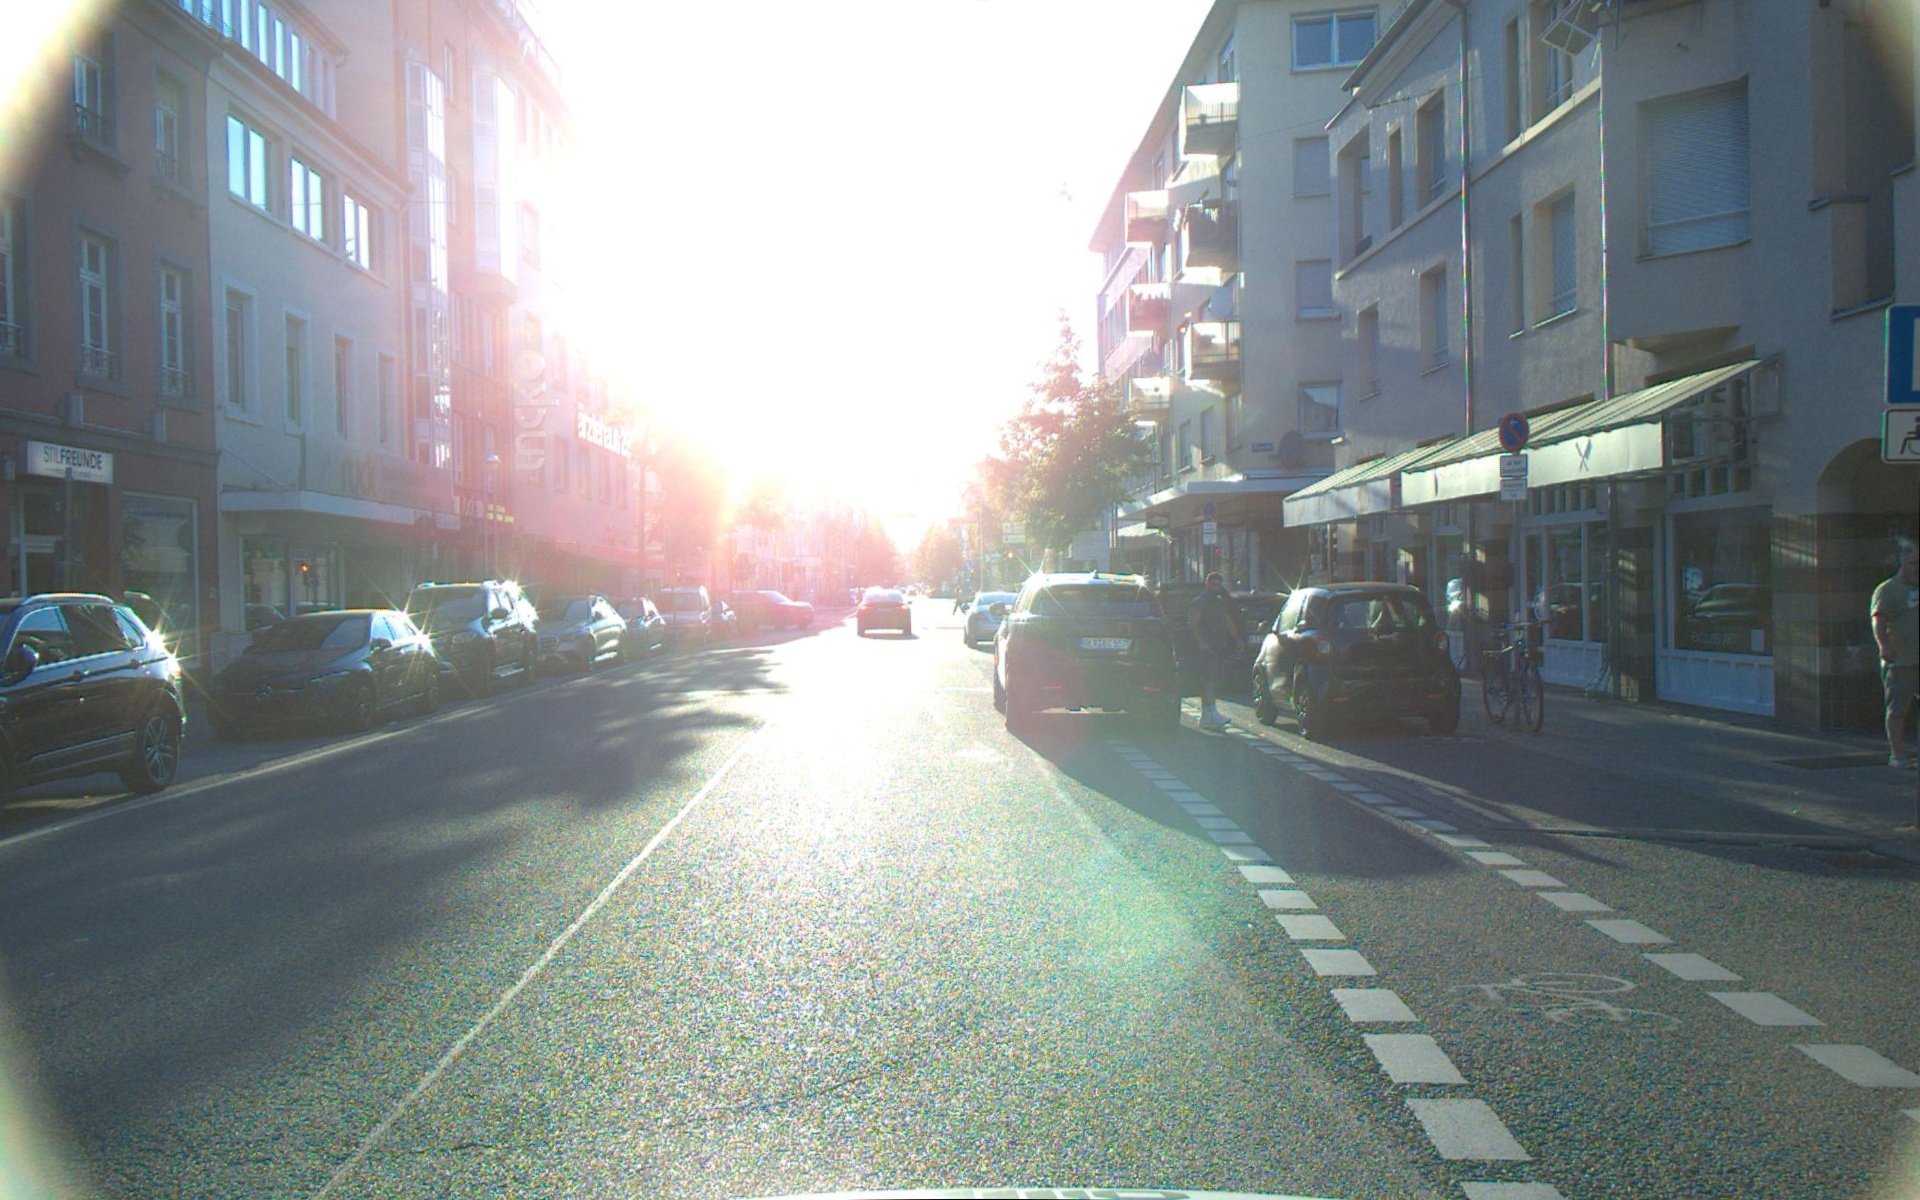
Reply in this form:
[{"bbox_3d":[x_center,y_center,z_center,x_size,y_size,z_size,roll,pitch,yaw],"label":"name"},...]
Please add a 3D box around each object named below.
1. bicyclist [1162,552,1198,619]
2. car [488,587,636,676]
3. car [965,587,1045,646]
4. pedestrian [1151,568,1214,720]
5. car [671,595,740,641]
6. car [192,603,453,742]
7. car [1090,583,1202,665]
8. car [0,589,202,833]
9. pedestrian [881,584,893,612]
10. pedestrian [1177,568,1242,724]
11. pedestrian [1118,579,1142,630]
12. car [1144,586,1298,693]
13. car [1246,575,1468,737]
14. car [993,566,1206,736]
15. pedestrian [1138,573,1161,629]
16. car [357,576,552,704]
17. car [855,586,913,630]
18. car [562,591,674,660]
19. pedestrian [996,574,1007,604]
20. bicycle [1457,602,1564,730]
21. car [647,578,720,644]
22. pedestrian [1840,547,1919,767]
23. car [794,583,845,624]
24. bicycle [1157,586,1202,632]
[{"bbox_3d":[5.781,-0.370,43.489,0.638,1.732,1.093,-1,0,-9],"label":"bicyclist"},{"bbox_3d":[-8.136,0.584,34.307,1.790,1.583,5.135,-3,1,-1],"label":"car"},{"bbox_3d":[1.122,0.394,43.642,1.883,1.439,4.547,1,0,-1],"label":"car"},{"bbox_3d":[2.546,0.494,18.907,0.436,1.694,0.561,-2,1,-26],"label":"pedestrian"},{"bbox_3d":[-8.524,0.585,55.709,1.796,1.351,4.122,-2,1,-2],"label":"car"},{"bbox_3d":[-7.987,0.835,21.172,1.678,1.465,4.308,-2,1,-1],"label":"car"},{"bbox_3d":[3.593,0.422,32.538,1.669,1.461,3.931,-2,0,-1],"label":"car"},{"bbox_3d":[-7.531,0.809,12.364,1.738,1.661,4.237,-3,1,-1],"label":"car"},{"bbox_3d":[-4.359,-0.125,98.378,0.566,1.673,0.524,-1,1,-23],"label":"pedestrian"},{"bbox_3d":[2.768,0.498,18.391,0.436,1.694,0.561,-2,1,-26],"label":"pedestrian"},{"bbox_3d":[5.445,0.135,53.001,0.674,1.586,0.862,-1,0,-1],"label":"pedestrian"},{"bbox_3d":[3.859,0.532,25.007,1.600,1.449,3.756,-2,1,-2],"label":"car"},{"bbox_3d":[4.247,0.545,18.056,1.600,1.580,2.692,-2,1,-4],"label":"car"},{"bbox_3d":[1.451,0.490,18.994,1.954,1.684,4.673,1,1,-1],"label":"car"},{"bbox_3d":[6.054,0.026,52.890,0.673,1.751,0.717,-2,0,4],"label":"pedestrian"},{"bbox_3d":[-8.262,0.565,27.566,1.791,1.841,5.345,-3,1,-3],"label":"car"},{"bbox_3d":[-2.541,0.252,56.192,1.845,1.440,4.324,0,0,-1],"label":"car"},{"bbox_3d":[-8.254,0.571,40.285,1.790,1.464,4.552,-3,0,-1],"label":"car"},{"bbox_3d":[2.427,-0.662,97.355,0.488,1.745,0.459,-1,1,-21],"label":"pedestrian"},{"bbox_3d":[5.805,0.663,17.518,0.389,1.256,1.824,-2,1,-4],"label":"bicycle"},{"bbox_3d":[-8.241,0.299,49.622,1.797,1.886,4.120,-1,0,-5],"label":"car"},{"bbox_3d":[7.558,0.427,13.082,0.793,1.675,0.606,-4,0,6],"label":"pedestrian"},{"bbox_3d":[-5.989,0.122,71.113,1.883,1.629,4.325,-1,1,-1],"label":"car"},{"bbox_3d":[5.765,0.220,43.560,0.638,1.175,1.928,-1,0,-9],"label":"bicycle"}]
